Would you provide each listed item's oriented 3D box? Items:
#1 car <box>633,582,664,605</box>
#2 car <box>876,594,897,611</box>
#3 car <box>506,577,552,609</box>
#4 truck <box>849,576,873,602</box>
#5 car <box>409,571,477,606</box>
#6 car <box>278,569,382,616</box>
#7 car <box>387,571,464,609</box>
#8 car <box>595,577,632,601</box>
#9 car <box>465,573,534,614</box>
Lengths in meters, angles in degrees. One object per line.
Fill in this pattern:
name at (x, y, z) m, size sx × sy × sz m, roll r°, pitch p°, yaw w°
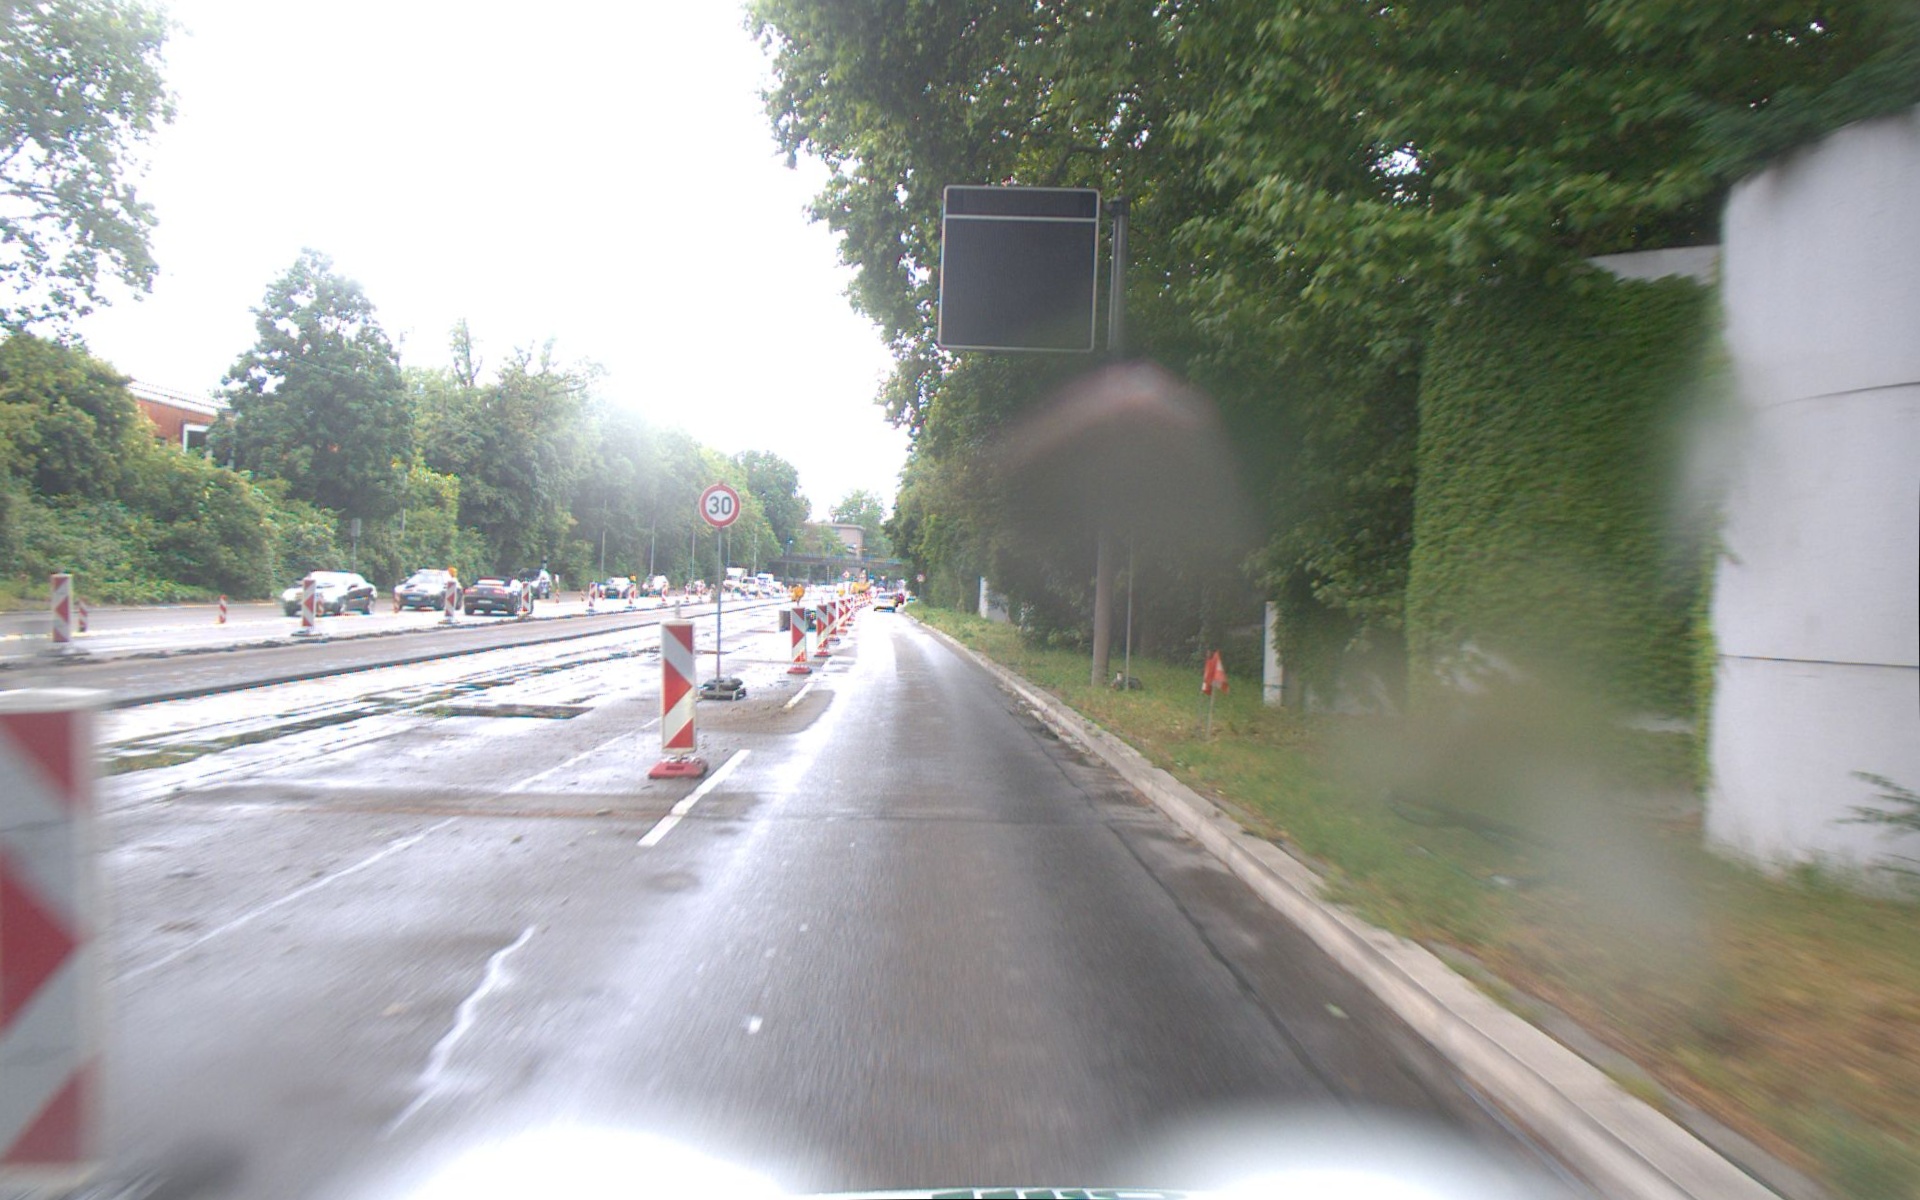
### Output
car at (-24.461, -0.518, 129.979) m, size 1.700 × 1.752 × 4.491 m, roll 3°, pitch 0°, yaw -3°
car at (-6.075, 0.223, 136.782) m, size 1.663 × 1.359 × 3.489 m, roll 0°, pitch 0°, yaw -3°
car at (-24.854, -0.415, 95.470) m, size 1.620 × 1.714 × 4.530 m, roll 3°, pitch 0°, yaw -3°
truck at (-14.444, -1.612, 242.759) m, size 3.194 × 3.558 × 13.862 m, roll 3°, pitch 0°, yaw -3°
car at (-23.436, -0.539, 75.111) m, size 1.782 × 1.444 × 4.600 m, roll 3°, pitch 0°, yaw -3°
car at (-19.714, -0.249, 51.942) m, size 1.781 × 1.379 × 4.387 m, roll 1°, pitch 0°, yaw -3°
car at (-20.612, -0.389, 63.917) m, size 1.781 × 1.379 × 4.202 m, roll 1°, pitch 0°, yaw -3°
car at (-23.570, -0.748, 112.598) m, size 1.725 × 1.509 × 4.897 m, roll 2°, pitch 0°, yaw -4°
car at (-17.115, -0.248, 61.595) m, size 1.575 × 1.429 × 4.039 m, roll 3°, pitch 0°, yaw -3°
